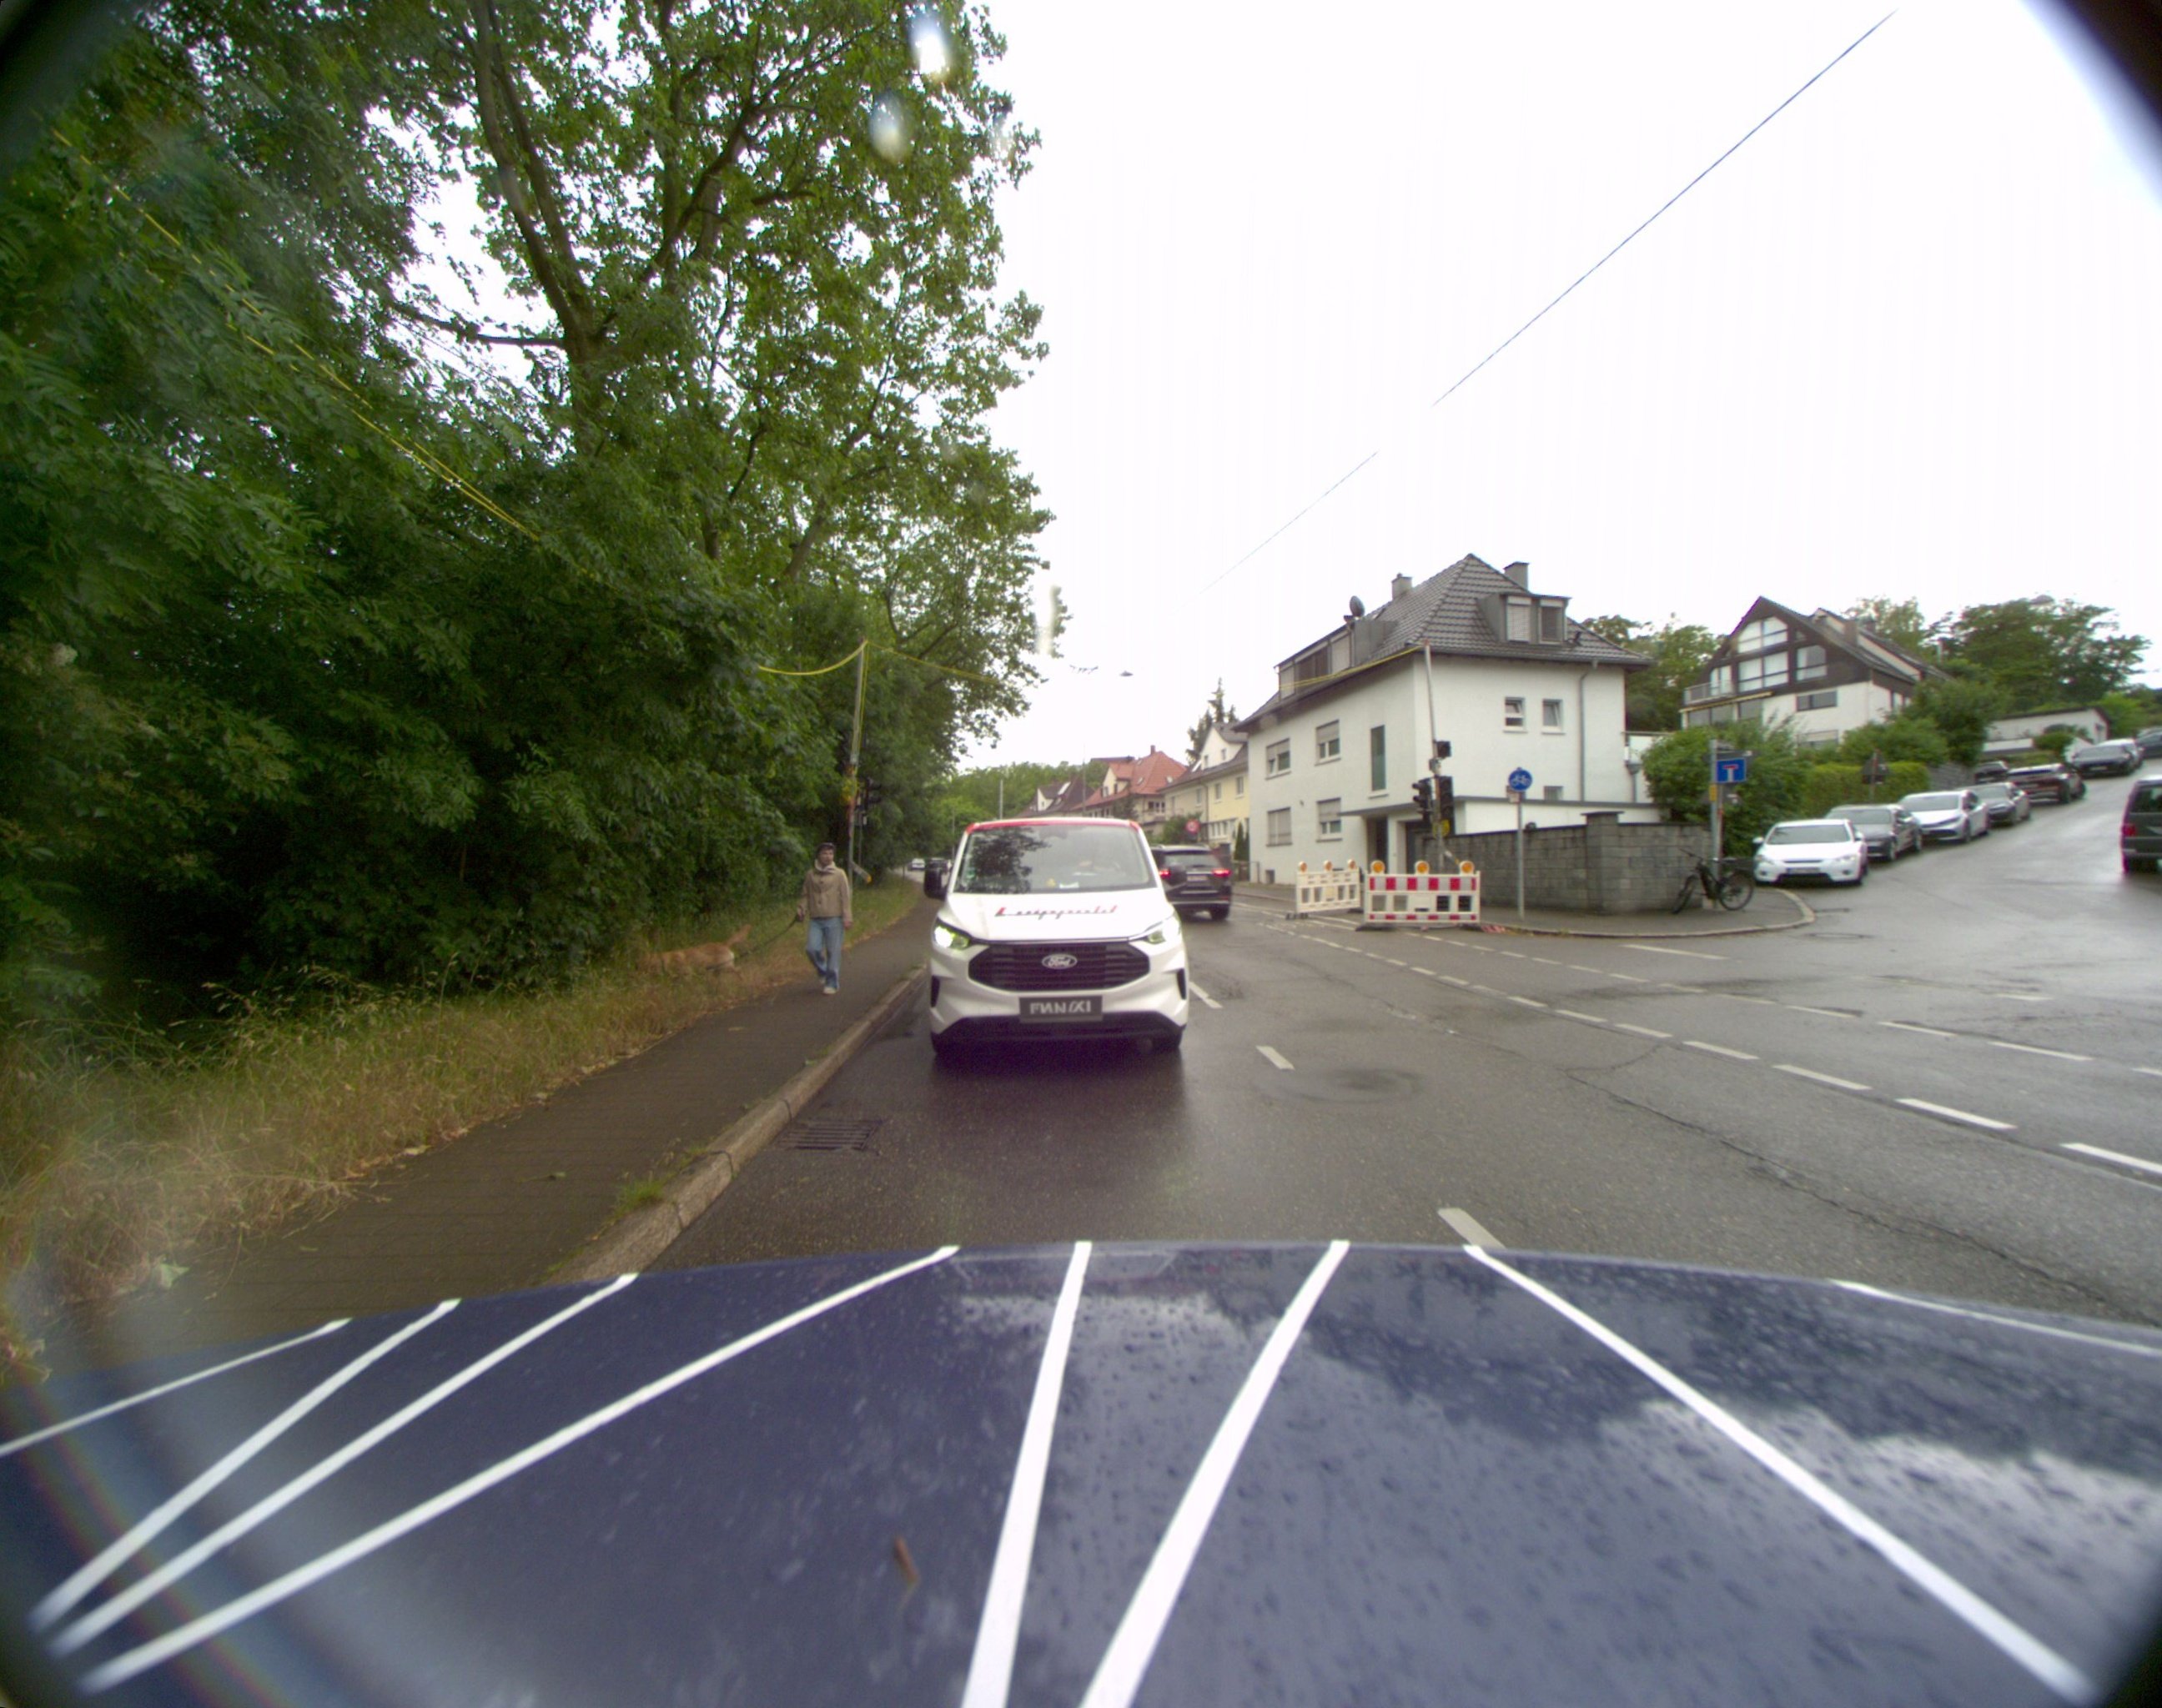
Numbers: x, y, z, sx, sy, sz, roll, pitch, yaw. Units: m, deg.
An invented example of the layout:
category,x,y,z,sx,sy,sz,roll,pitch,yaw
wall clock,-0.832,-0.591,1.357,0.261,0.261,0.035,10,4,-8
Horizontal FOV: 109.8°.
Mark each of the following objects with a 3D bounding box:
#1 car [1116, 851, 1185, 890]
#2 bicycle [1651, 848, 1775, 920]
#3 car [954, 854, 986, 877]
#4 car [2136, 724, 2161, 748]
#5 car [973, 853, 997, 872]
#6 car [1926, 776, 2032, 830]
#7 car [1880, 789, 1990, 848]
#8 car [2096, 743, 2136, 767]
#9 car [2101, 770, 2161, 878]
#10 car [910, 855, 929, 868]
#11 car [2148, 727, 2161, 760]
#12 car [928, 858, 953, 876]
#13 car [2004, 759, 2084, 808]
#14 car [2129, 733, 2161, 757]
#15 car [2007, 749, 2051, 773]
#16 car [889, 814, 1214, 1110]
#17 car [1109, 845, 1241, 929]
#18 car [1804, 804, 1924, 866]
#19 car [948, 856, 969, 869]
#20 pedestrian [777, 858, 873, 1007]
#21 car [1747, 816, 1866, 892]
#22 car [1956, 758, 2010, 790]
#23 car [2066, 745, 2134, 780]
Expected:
category,x,y,z,sx,sy,sz,roll,pitch,yaw
car,3.133,0.732,35.044,1.798,1.630,4.150,-1,0,-15
bicycle,11.590,0.535,13.946,2.006,1.232,0.510,-2,3,-8
car,-8.772,0.881,59.704,2.001,1.664,4.683,-2,0,-13
car,81.120,-8.873,55.971,1.754,1.508,3.961,-3,1,-35
car,-9.606,0.844,75.966,1.882,1.814,4.121,-2,0,-14
car,32.330,-1.834,27.345,4.111,1.430,1.921,-9,4,-33
car,27.272,-1.155,24.242,3.951,1.462,1.755,-7,3,-33
car,59.839,-5.746,43.909,2.988,1.191,1.305,-6,3,-35
car,23.886,-0.754,16.272,4.497,2.003,1.996,-7,3,-31
car,-19.886,0.923,93.476,1.860,1.518,4.813,-3,0,-16
car,72.467,-7.453,48.993,2.003,2.000,3.993,-2,-4,-32
car,-13.947,1.289,75.156,1.874,1.612,4.158,-2,0,-18
car,40.722,-2.986,32.123,4.004,1.617,1.638,-8,4,-32
car,68.327,-6.942,47.709,1.286,1.310,2.945,-3,1,-36
car,57.241,-5.642,45.877,3.656,1.205,1.577,-7,3,-38
car,-0.161,0.714,7.598,2.102,1.908,5.090,-2,0,1
car,2.120,0.730,18.650,1.986,1.737,4.550,-2,0,-9
car,22.467,-0.560,21.770,3.910,1.380,1.719,-7,3,-34
car,-15.233,1.074,94.187,2.071,1.477,4.556,-2,0,-16
pedestrian,-2.671,0.790,8.016,0.735,1.490,0.785,-1,1,-1
car,17.779,-0.050,18.548,4.126,1.455,1.849,-7,4,-43
car,52.870,-4.653,44.528,4.020,1.545,1.812,-3,1,-37
car,54.817,-4.883,40.852,4.034,1.511,1.786,-2,0,-31
